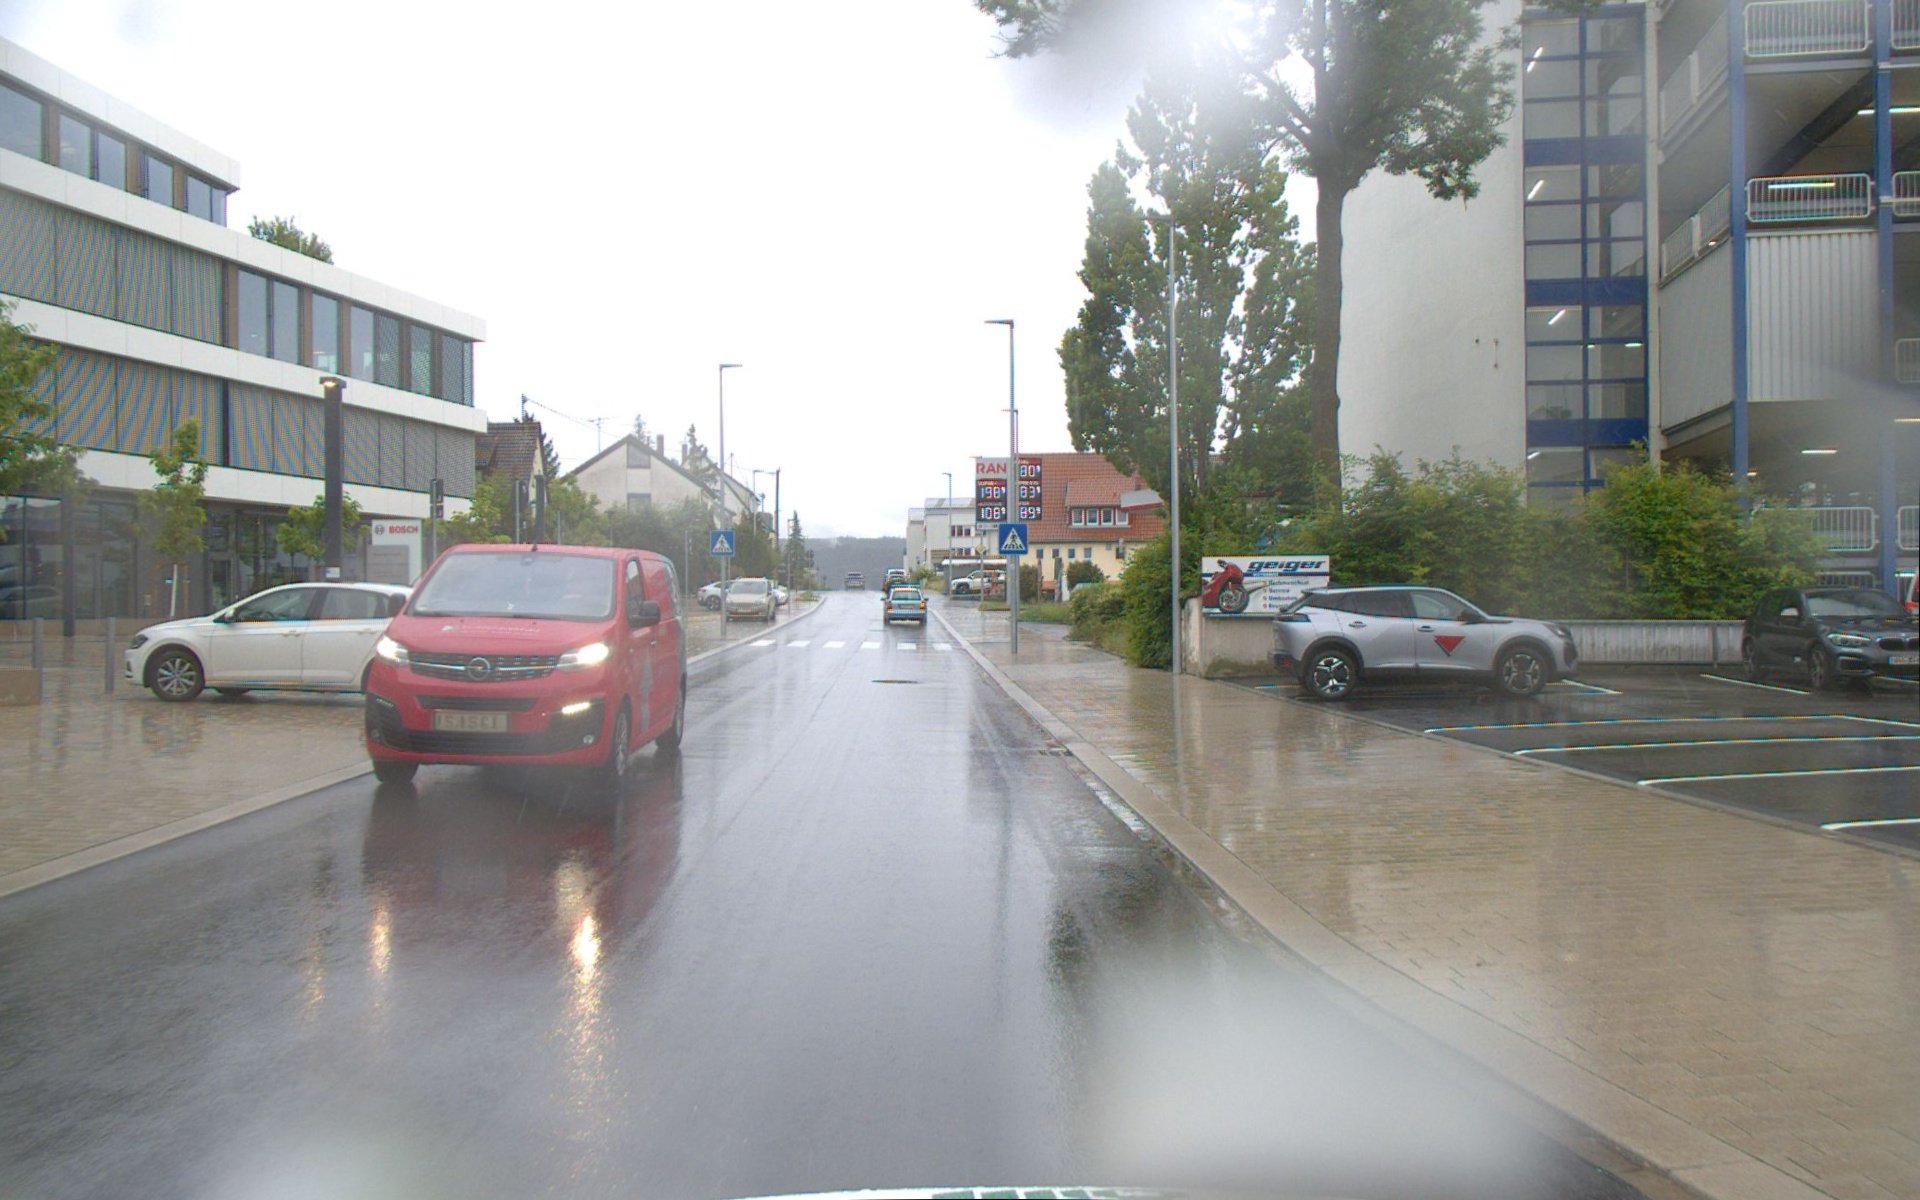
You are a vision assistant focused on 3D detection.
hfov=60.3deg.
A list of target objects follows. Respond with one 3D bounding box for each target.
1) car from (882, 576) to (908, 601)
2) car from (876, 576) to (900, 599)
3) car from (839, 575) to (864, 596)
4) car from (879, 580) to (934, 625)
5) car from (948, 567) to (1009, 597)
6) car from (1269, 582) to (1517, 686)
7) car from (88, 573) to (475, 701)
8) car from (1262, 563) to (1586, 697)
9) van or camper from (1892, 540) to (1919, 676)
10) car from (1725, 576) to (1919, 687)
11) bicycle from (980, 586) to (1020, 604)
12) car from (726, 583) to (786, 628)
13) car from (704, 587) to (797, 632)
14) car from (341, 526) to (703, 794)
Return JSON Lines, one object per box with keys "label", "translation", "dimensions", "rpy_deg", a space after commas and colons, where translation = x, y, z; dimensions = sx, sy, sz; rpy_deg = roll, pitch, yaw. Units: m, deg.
{"label": "car", "translation": [-5.131, -0.865, 130.432], "dimensions": [1.954, 1.736, 3.998], "rpy_deg": [4, -2, -2]}
{"label": "car", "translation": [-6.276, -1.088, 143.583], "dimensions": [1.954, 1.736, 3.998], "rpy_deg": [4, -2, -2]}
{"label": "car", "translation": [-10.159, -1.373, 155.472], "dimensions": [2.111, 1.736, 3.998], "rpy_deg": [4, -2, -2]}
{"label": "car", "translation": [-2.156, 0.137, 65.565], "dimensions": [1.910, 1.583, 3.996], "rpy_deg": [4, -2, -5]}
{"label": "car", "translation": [1.263, -1.225, 114.899], "dimensions": [4.033, 1.736, 1.786], "rpy_deg": [4, -2, -6]}
{"label": "car", "translation": [6.722, 0.523, 25.995], "dimensions": [3.544, 1.521, 1.808], "rpy_deg": [-1, 0, 7]}
{"label": "car", "translation": [-8.004, 0.416, 19.792], "dimensions": [3.848, 1.448, 1.897], "rpy_deg": [0, 0, -2]}
{"label": "car", "translation": [6.414, 0.414, 23.314], "dimensions": [4.118, 1.678, 2.002], "rpy_deg": [-2, 0, 8]}
{"label": "van or camper", "translation": [15.272, 0.126, 23.804], "dimensions": [1.798, 2.072, 4.465], "rpy_deg": [0, 0, 9]}
{"label": "car", "translation": [12.820, 0.405, 23.985], "dimensions": [1.891, 1.467, 4.210], "rpy_deg": [0, 0, 6]}
{"label": "bicycle", "translation": [2.584, -0.356, 108.333], "dimensions": [0.662, 1.085, 3.587], "rpy_deg": [5, -2, -33]}
{"label": "car", "translation": [-7.950, 0.183, 64.731], "dimensions": [1.953, 1.657, 4.151], "rpy_deg": [0, 1, -2]}
{"label": "car", "translation": [-11.031, 0.504, 87.352], "dimensions": [4.661, 2.049, 1.998], "rpy_deg": [4, -2, -5]}
{"label": "car", "translation": [-3.422, 0.407, 13.973], "dimensions": [1.963, 1.849, 4.976], "rpy_deg": [0, 0, -3]}
